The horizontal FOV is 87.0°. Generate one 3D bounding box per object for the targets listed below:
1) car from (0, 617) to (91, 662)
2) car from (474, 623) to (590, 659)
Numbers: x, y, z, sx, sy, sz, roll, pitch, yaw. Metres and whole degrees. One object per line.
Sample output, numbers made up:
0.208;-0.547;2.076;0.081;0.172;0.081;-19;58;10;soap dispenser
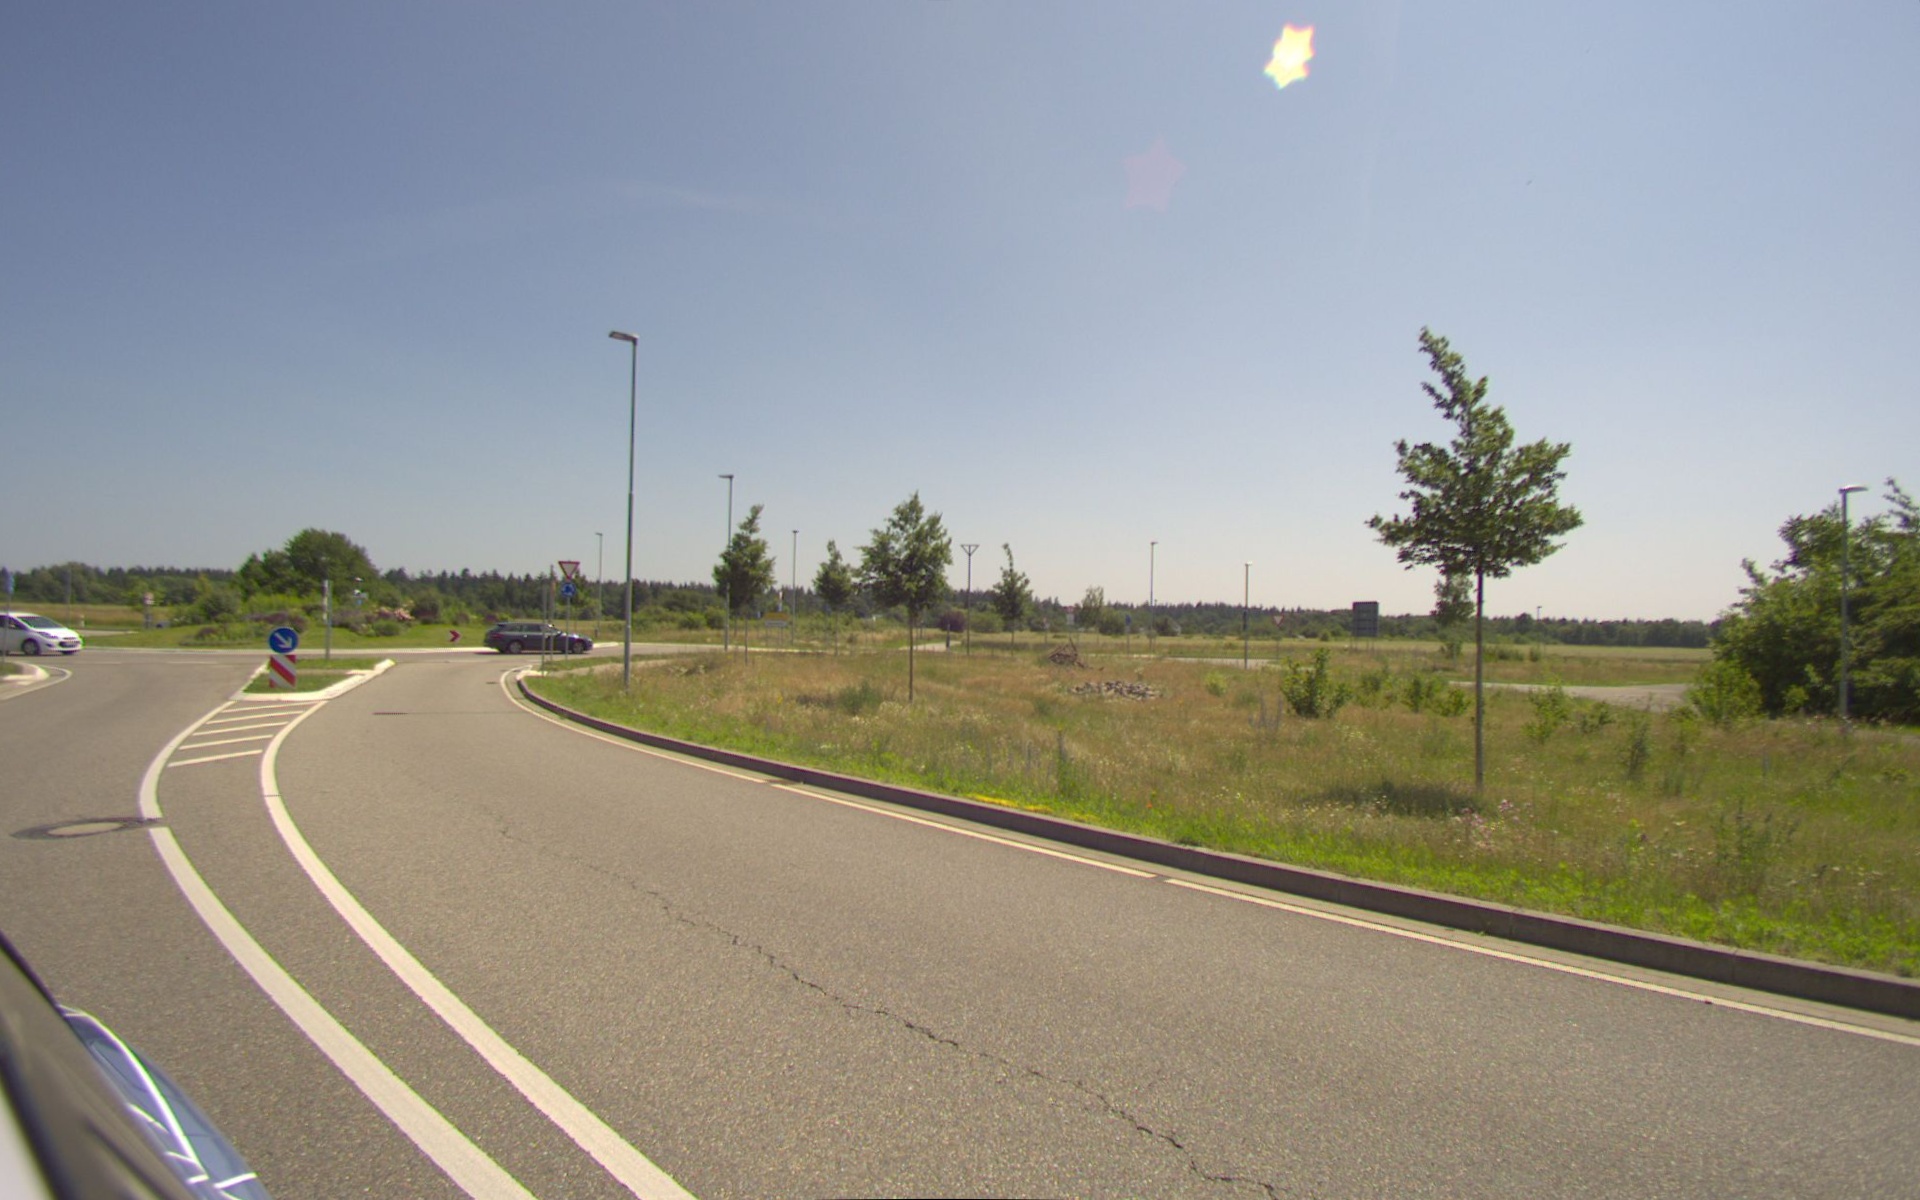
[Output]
-35.982;1.468;38.388;4.459;1.573;1.868;2;-1;2;car
-19.415;1.857;46.020;4.450;1.445;1.872;2;0;-41;car
